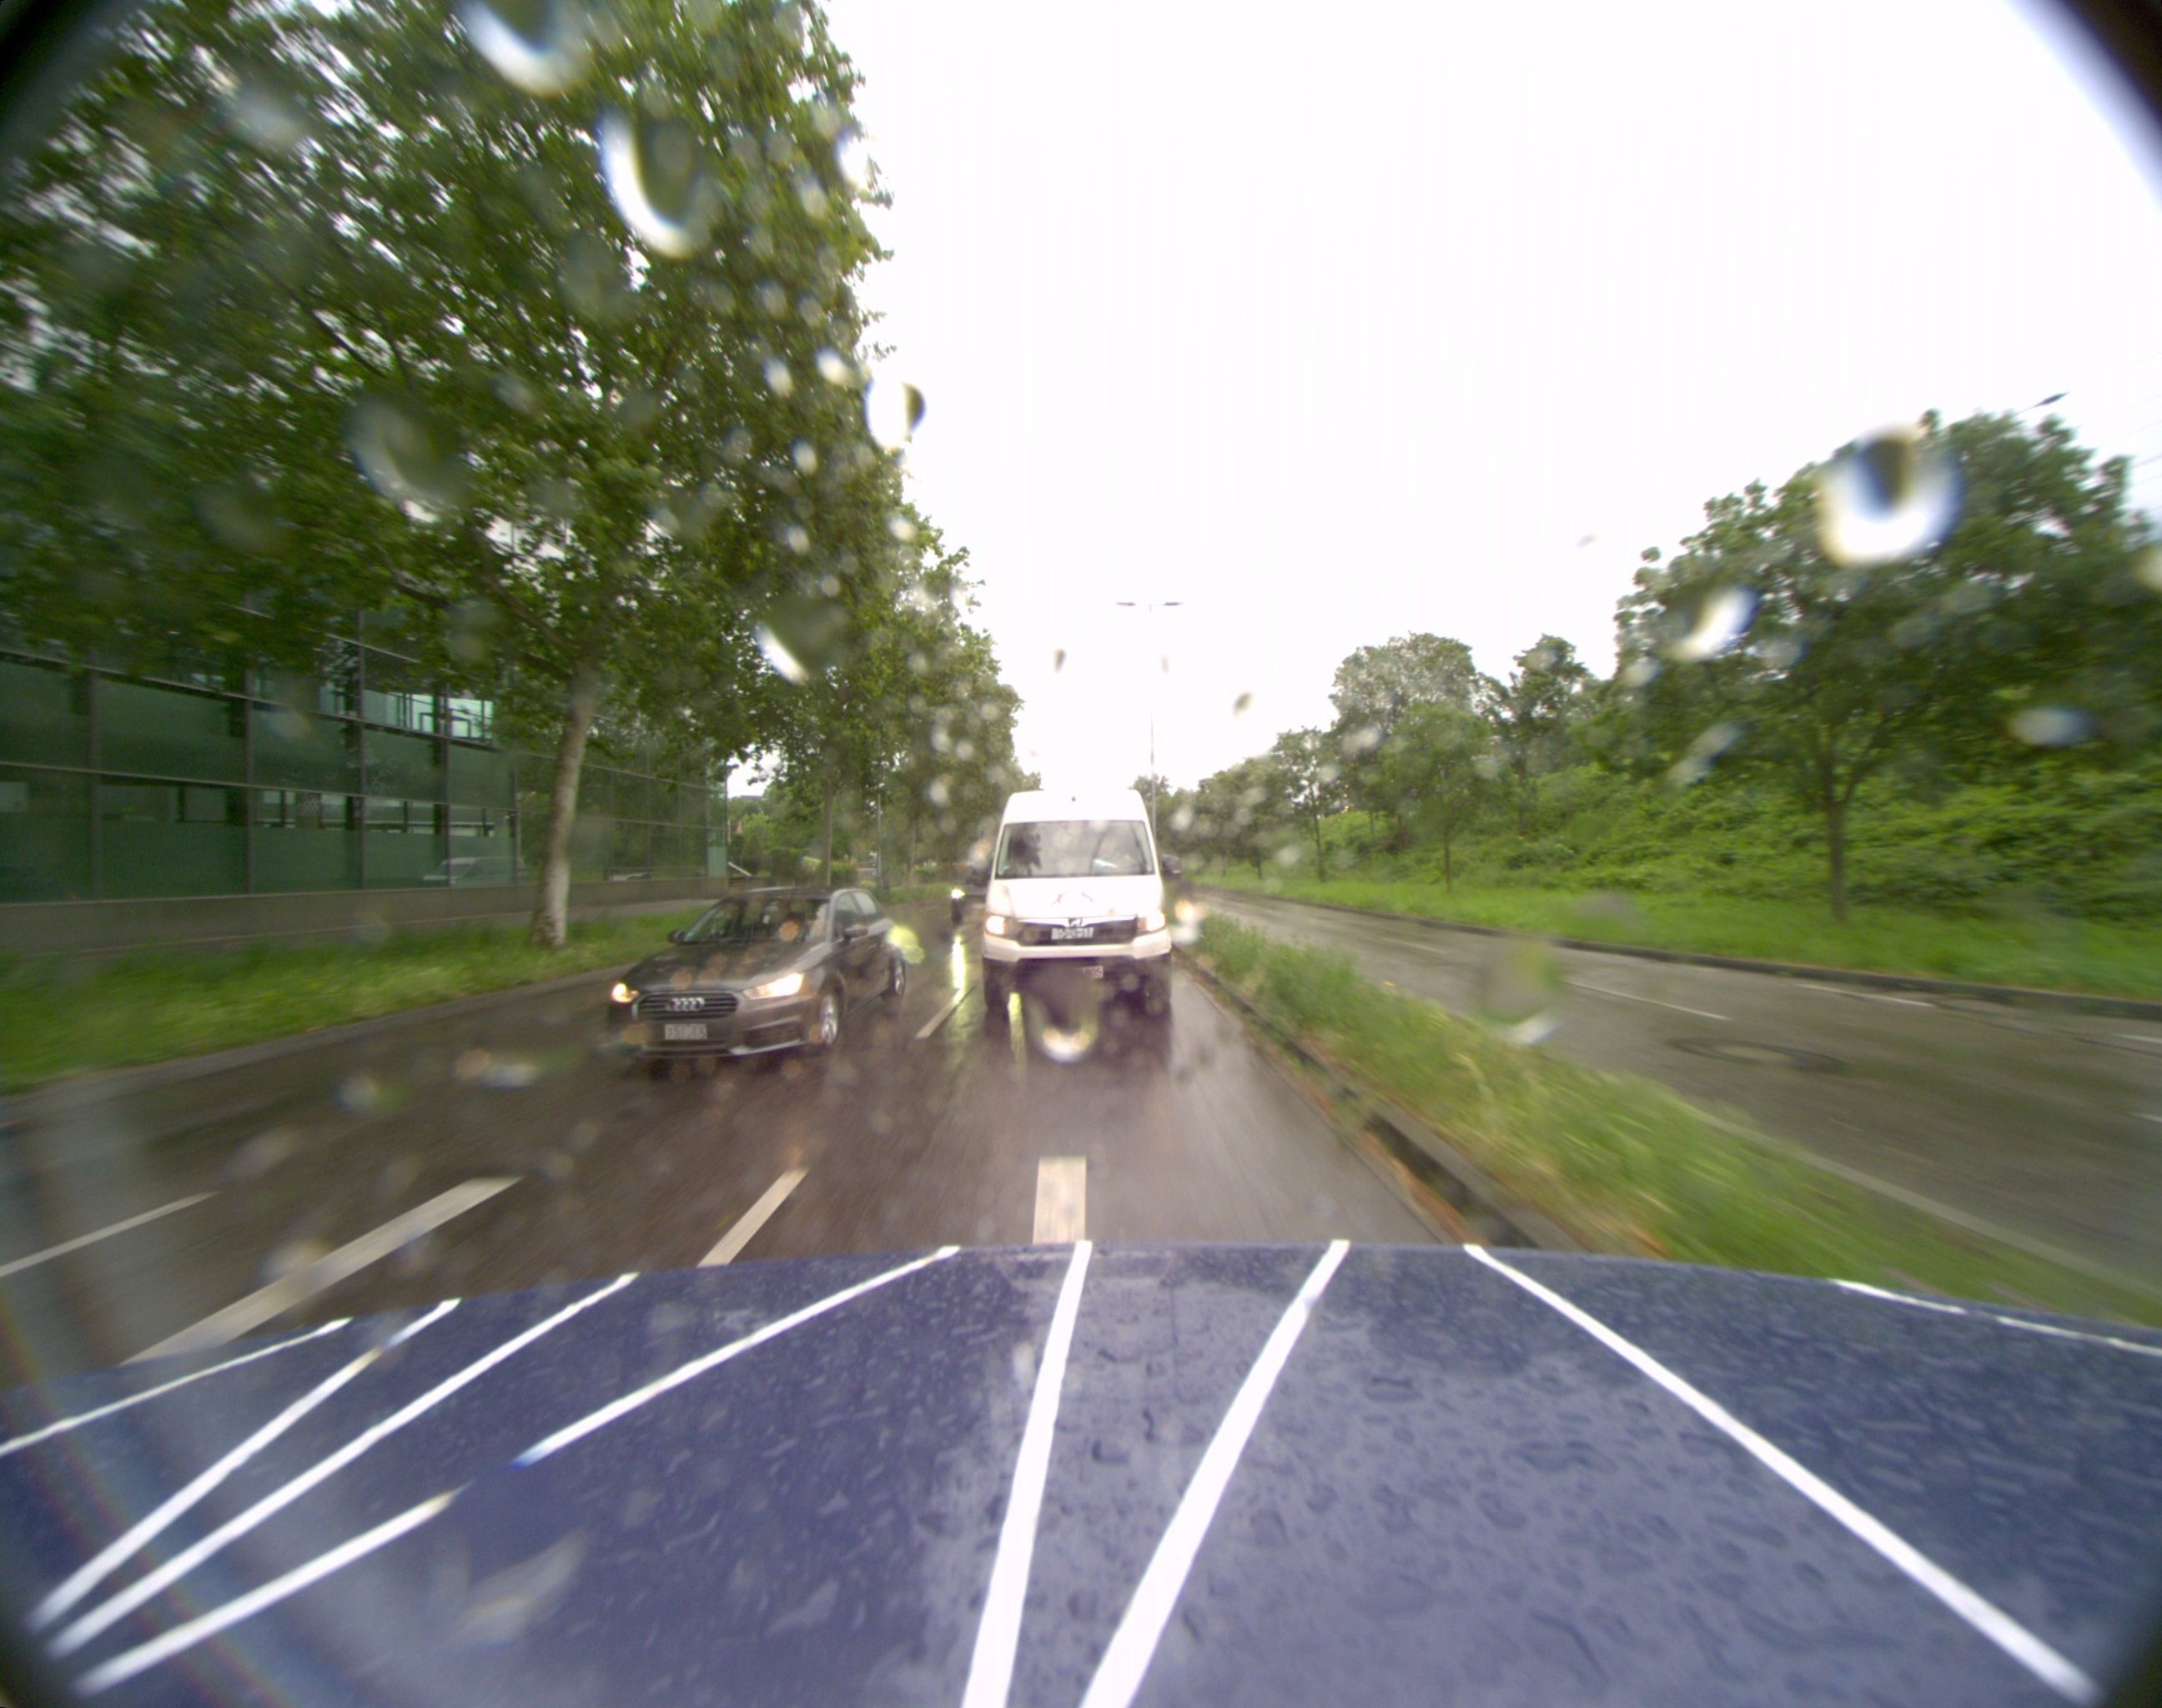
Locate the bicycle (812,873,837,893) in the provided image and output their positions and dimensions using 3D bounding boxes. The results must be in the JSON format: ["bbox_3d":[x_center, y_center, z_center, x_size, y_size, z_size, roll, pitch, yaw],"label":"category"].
[{"bbox_3d":[-14.726,1.666,43.675,0.745,1.098,2.076,1,0,-2],"label":"bicycle"}]

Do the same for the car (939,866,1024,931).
[{"bbox_3d":[-2.872,1.251,22.971,1.999,1.737,4.328,0,0,0],"label":"car"}]

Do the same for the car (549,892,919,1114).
[{"bbox_3d":[-2.913,1.172,7.389,1.841,1.390,3.754,-2,0,0],"label":"car"}]

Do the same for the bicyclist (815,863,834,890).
[{"bbox_3d":[-14.723,1.287,43.673,0.807,1.506,0.752,2,1,-3],"label":"bicyclist"}]

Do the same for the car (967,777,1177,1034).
[{"bbox_3d":[-0.032,0.514,10.176,1.968,2.419,5.962,0,0,1],"label":"car"}]

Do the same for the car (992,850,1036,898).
[{"bbox_3d":[-3.582,1.041,41.427,1.999,2.416,4.978,0,0,0],"label":"car"}]
